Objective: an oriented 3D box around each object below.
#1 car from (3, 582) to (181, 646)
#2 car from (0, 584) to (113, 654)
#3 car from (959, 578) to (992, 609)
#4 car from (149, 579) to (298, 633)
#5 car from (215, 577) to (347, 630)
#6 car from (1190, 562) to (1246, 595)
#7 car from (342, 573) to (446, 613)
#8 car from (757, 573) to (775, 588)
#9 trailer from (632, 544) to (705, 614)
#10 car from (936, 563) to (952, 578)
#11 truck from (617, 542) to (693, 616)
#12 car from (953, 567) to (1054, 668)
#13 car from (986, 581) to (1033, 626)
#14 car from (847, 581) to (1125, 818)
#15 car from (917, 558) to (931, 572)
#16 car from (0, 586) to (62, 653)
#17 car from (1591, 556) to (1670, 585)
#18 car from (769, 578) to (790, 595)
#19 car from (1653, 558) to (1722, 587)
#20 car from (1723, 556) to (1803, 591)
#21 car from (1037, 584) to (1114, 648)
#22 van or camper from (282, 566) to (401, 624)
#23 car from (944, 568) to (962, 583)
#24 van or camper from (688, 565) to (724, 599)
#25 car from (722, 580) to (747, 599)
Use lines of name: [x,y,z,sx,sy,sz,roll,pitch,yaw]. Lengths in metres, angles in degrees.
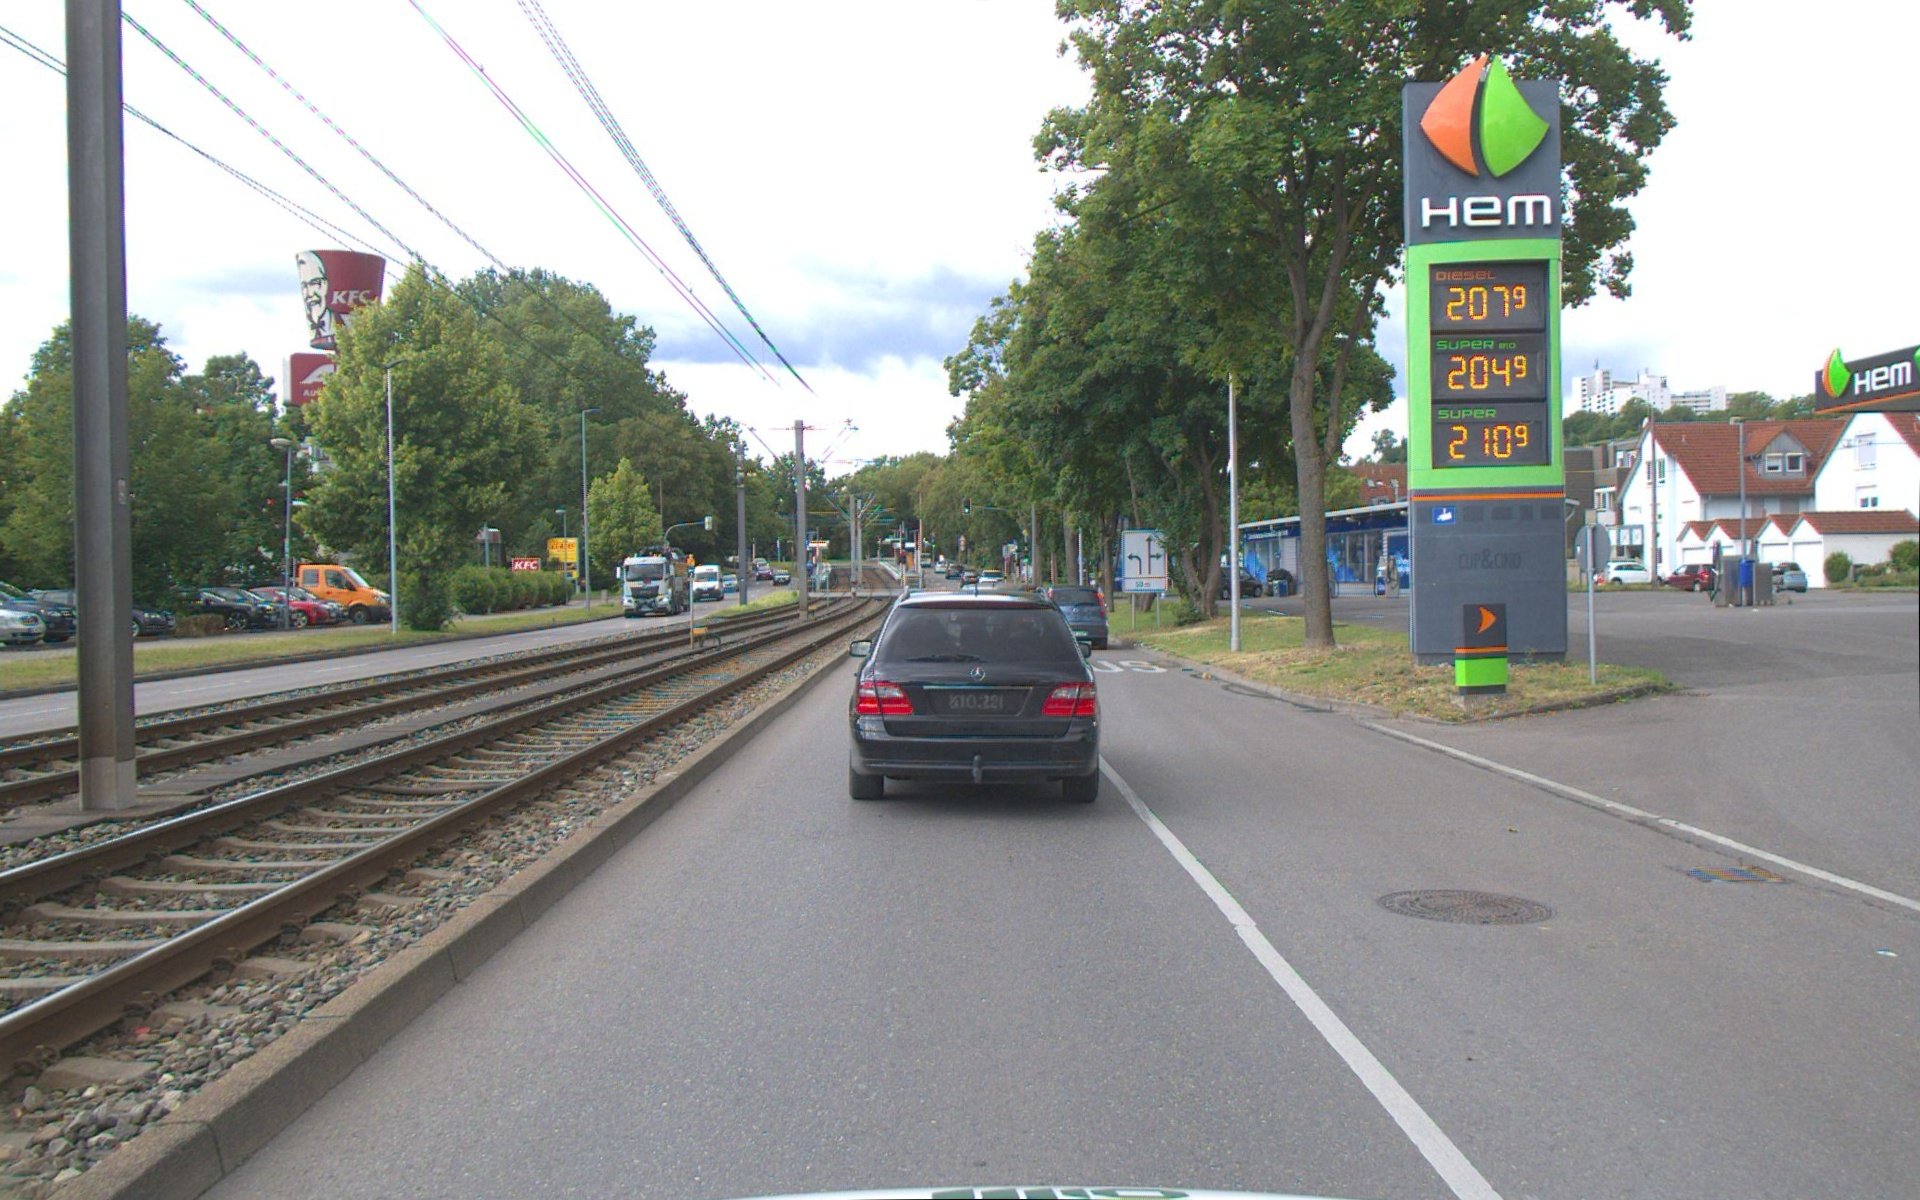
car: [-24.047,0.363,45.926,3.910,1.627,1.876,-2,1,-6]
car: [-23.587,0.475,41.252,3.910,1.663,1.876,-2,1,-6]
car: [0.930,-0.433,103.815,1.953,1.870,3.999,1,0,-1]
car: [-23.620,0.175,53.150,3.910,1.627,1.876,-2,1,-6]
car: [-24.002,0.122,58.587,3.909,1.829,1.876,0,1,-6]
car: [14.260,-1.190,91.343,1.965,1.712,4.579,-1,1,23]
car: [-24.658,-0.300,72.116,3.910,1.627,1.795,-2,1,-6]
car: [-22.404,-2.240,191.067,1.729,1.676,3.770,1,0,-1]
trailer: [-16.899,-1.224,96.820,2.651,3.724,13.289,-1,1,-4]
car: [-1.922,-3.602,200.354,1.953,1.744,4.000,-1,1,-1]
truck: [-16.489,-1.156,90.090,2.653,3.727,11.104,-1,1,-4]
car: [0.773,0.308,31.420,1.744,1.781,3.717,1,0,-1]
car: [1.637,0.100,55.709,1.436,1.439,3.354,1,0,-1]
car: [0.142,0.618,12.515,1.771,1.500,3.880,0,1,-1]
car: [-4.852,-4.739,222.941,1.953,1.870,3.999,1,0,-1]
car: [-23.448,0.462,38.385,4.221,1.497,1.679,-1,1,-3]
car: [41.072,-1.819,101.368,4.132,1.713,1.776,1,0,-4]
car: [-17.963,-1.342,164.732,1.729,1.676,3.770,1,0,-1]
car: [37.490,-1.406,85.316,1.553,1.418,3.407,1,0,-13]
car: [38.751,-1.274,79.884,1.506,1.627,3.725,1,0,-13]
car: [2.717,0.364,39.573,1.539,1.439,3.354,1,0,-1]
van or camper: [-23.754,-0.193,63.588,3.909,2.172,1.876,0,1,-6]
car: [-0.742,-2.604,178.124,1.634,1.559,3.768,1,0,-4]
van or camper: [-18.485,-1.297,120.614,1.954,2.395,5.763,-1,1,-3]
car: [-19.850,-0.936,145.570,1.729,1.676,3.770,1,0,-1]
